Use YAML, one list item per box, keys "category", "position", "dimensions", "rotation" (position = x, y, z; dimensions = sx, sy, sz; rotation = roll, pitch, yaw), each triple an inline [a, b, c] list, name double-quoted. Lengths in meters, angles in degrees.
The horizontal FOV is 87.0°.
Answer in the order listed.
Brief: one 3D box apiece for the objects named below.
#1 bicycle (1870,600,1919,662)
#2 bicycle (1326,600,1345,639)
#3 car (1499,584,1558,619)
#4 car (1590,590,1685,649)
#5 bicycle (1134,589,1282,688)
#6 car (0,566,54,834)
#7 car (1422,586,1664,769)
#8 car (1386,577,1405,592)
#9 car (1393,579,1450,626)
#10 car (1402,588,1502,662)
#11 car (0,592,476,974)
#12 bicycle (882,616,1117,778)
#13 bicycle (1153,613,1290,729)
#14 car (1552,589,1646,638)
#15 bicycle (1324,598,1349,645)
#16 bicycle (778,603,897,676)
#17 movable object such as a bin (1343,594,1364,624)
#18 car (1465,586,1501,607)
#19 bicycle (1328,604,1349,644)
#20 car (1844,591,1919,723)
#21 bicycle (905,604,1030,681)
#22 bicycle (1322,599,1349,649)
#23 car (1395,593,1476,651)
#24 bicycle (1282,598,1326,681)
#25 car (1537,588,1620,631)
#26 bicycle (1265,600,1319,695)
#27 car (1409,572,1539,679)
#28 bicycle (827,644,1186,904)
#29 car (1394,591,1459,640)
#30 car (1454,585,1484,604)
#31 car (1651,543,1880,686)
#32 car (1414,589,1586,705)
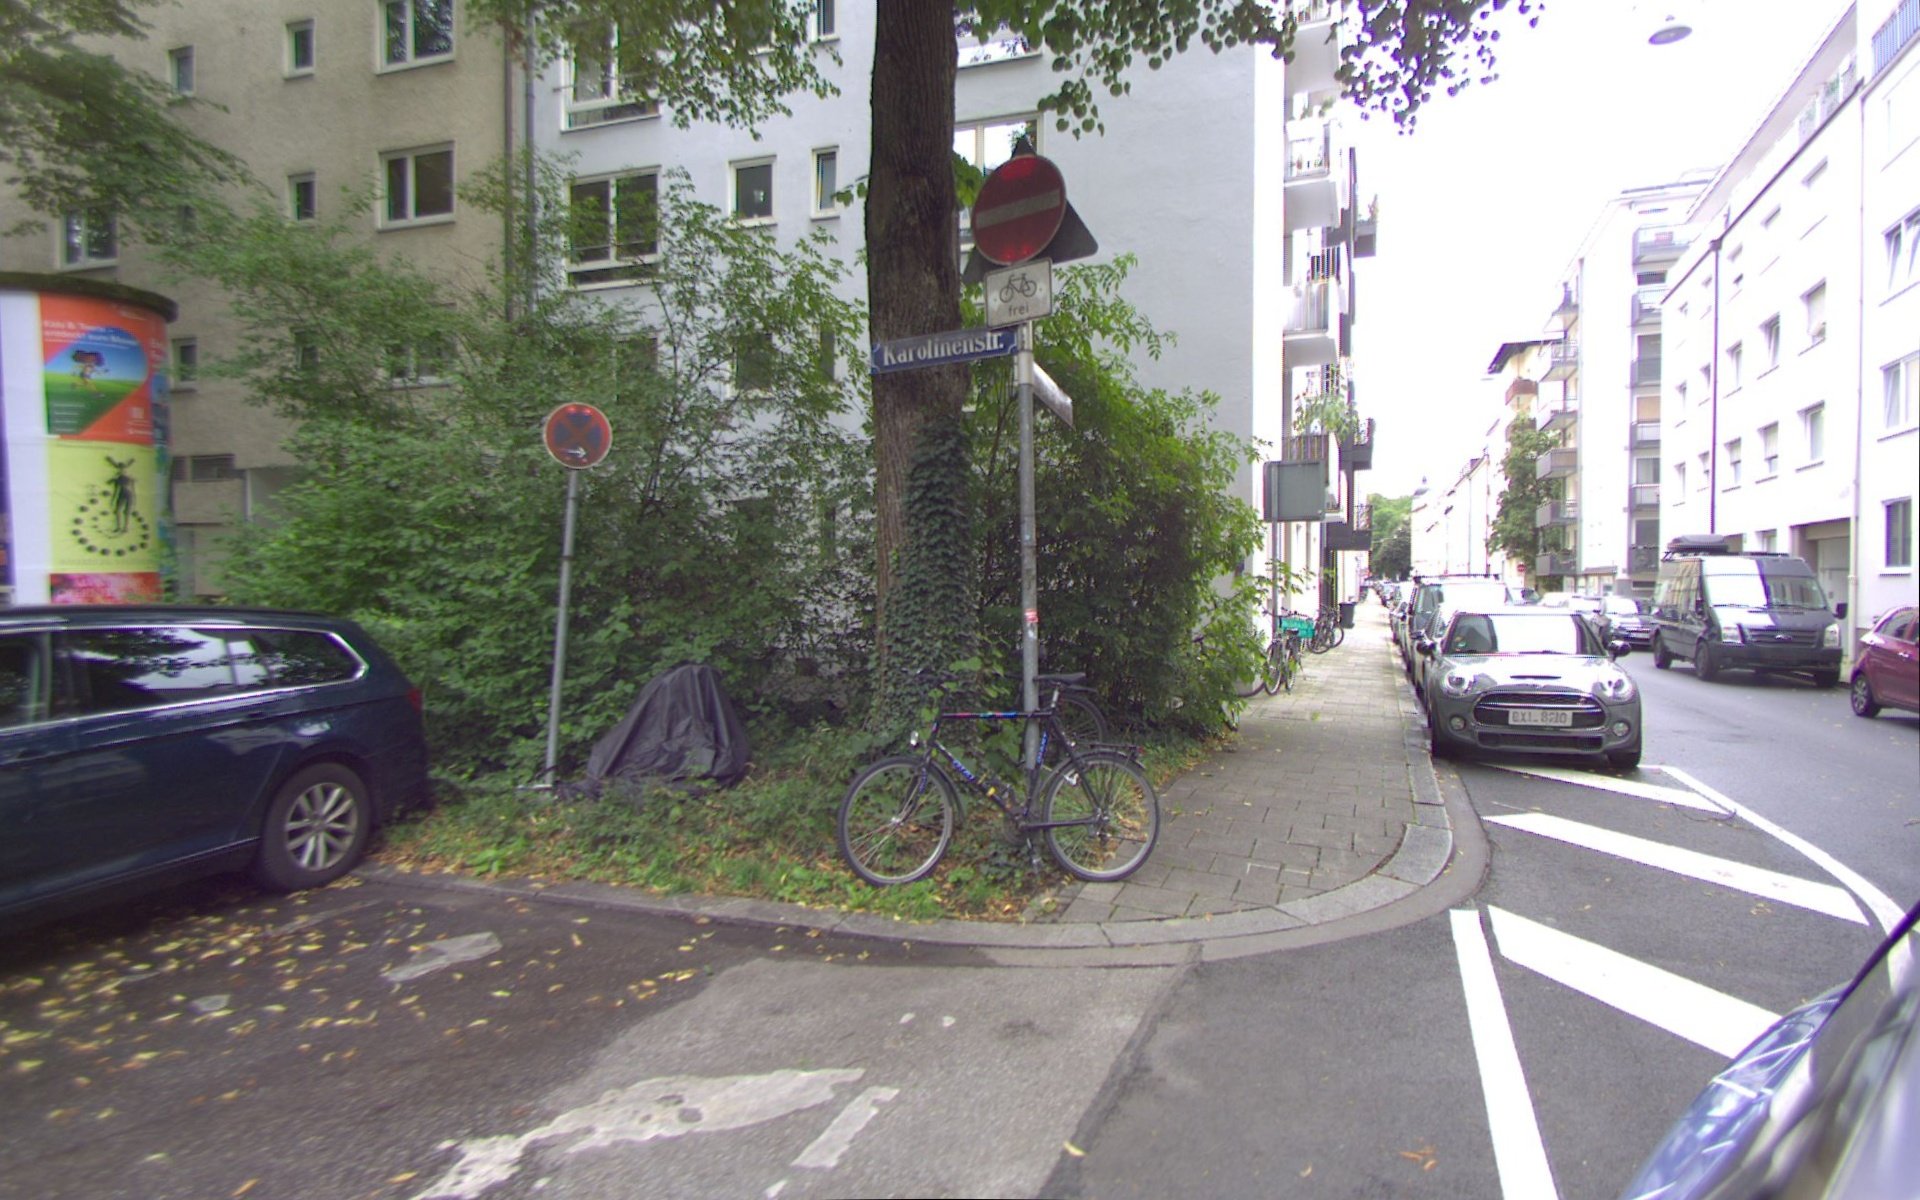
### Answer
- category: "bicycle"
  position: [18.195, 0.568, 19.480]
  dimensions: [0.459, 1.111, 1.855]
  rotation: [0, 1, 24]
- category: "bicycle"
  position: [10.682, 0.537, 28.785]
  dimensions: [0.473, 1.061, 1.510]
  rotation: [0, 0, 22]
- category: "car"
  position: [27.834, 0.020, 49.688]
  dimensions: [1.951, 1.627, 4.506]
  rotation: [1, 1, 23]
- category: "car"
  position: [19.233, 0.495, 28.868]
  dimensions: [1.600, 1.464, 3.712]
  rotation: [3, 2, 24]
- category: "bicycle"
  position: [3.235, 0.483, 13.253]
  dimensions: [1.828, 1.245, 0.575]
  rotation: [0, 0, 16]
- category: "car"
  position: [-6.979, 0.612, 4.593]
  dimensions: [1.733, 1.575, 3.962]
  rotation: [0, 1, 18]
- category: "car"
  position: [5.743, 0.601, 10.424]
  dimensions: [1.730, 1.459, 3.968]
  rotation: [1, 1, 24]
- category: "car"
  position: [48.434, -1.786, 112.684]
  dimensions: [1.875, 1.651, 4.264]
  rotation: [1, 1, 23]
- category: "car"
  position: [19.799, 0.048, 43.590]
  dimensions: [1.966, 1.862, 5.145]
  rotation: [-2, 1, 22]
- category: "car"
  position: [11.881, 0.519, 24.702]
  dimensions: [1.890, 1.573, 4.591]
  rotation: [1, 1, 22]
- category: "car"
  position: [-4.464, 0.689, 4.169]
  dimensions: [1.931, 1.394, 4.714]
  rotation: [0, 1, 14]
- category: "bicycle"
  position: [0.298, 0.656, 7.212]
  dimensions: [1.608, 1.069, 0.604]
  rotation: [0, 0, 9]
- category: "bicycle"
  position: [2.653, 0.684, 10.437]
  dimensions: [0.442, 1.069, 1.638]
  rotation: [0, 0, -24]
- category: "car"
  position: [20.821, 0.379, 33.134]
  dimensions: [1.785, 1.434, 4.198]
  rotation: [0, 1, 21]
- category: "bicycle"
  position: [9.833, 0.542, 26.388]
  dimensions: [0.566, 1.165, 1.551]
  rotation: [0, 0, 22]
- category: "bicycle"
  position: [-1.806, 0.566, 14.887]
  dimensions: [1.679, 1.036, 0.536]
  rotation: [0, 0, 18]
- category: "movable object such as a bin"
  position: [15.763, 0.356, 40.564]
  dimensions: [0.788, 1.154, 0.569]
  rotation: [0, 1, 22]
- category: "car"
  position: [37.584, -0.287, 72.838]
  dimensions: [1.951, 1.394, 4.264]
  rotation: [1, 1, 23]
- category: "bicycle"
  position: [10.213, 0.625, 27.271]
  dimensions: [0.473, 1.015, 1.540]
  rotation: [0, 0, 22]
- category: "car"
  position: [11.880, 0.675, 11.507]
  dimensions: [1.606, 1.515, 3.682]
  rotation: [1, 1, 22]
- category: "bicycle"
  position: [0.107, 0.585, 14.274]
  dimensions: [1.679, 1.036, 0.536]
  rotation: [0, 0, 18]
- category: "bicycle"
  position: [9.234, 0.575, 24.877]
  dimensions: [0.566, 1.165, 1.420]
  rotation: [0, 0, 22]
- category: "car"
  position: [13.664, 0.580, 29.295]
  dimensions: [1.744, 1.449, 4.232]
  rotation: [-3, 0, 21]
- category: "bicycle"
  position: [5.564, 0.594, 16.316]
  dimensions: [0.617, 1.235, 2.233]
  rotation: [-1, 0, 20]
- category: "car"
  position: [22.936, 0.289, 37.724]
  dimensions: [1.896, 1.455, 4.773]
  rotation: [1, 1, 22]
- category: "bicycle"
  position: [4.690, 0.622, 14.223]
  dimensions: [0.555, 1.235, 1.902]
  rotation: [-1, 0, 23]
- category: "car"
  position: [9.780, 0.371, 19.585]
  dimensions: [1.859, 1.813, 4.746]
  rotation: [0, 1, 22]
- category: "bicycle"
  position: [0.218, 0.827, 5.132]
  dimensions: [1.736, 1.152, 0.555]
  rotation: [0, 0, -11]
- category: "car"
  position: [15.481, 0.470, 33.741]
  dimensions: [1.719, 1.447, 4.173]
  rotation: [0, 1, 21]
- category: "car"
  position: [41.680, -0.492, 82.920]
  dimensions: [1.875, 1.470, 4.264]
  rotation: [1, 1, 23]
- category: "car"
  position: [15.117, 0.159, 19.396]
  dimensions: [2.003, 2.307, 5.348]
  rotation: [2, 2, 23]
- category: "car"
  position: [7.885, 0.576, 15.120]
  dimensions: [1.818, 1.437, 4.028]
  rotation: [1, 1, 22]
